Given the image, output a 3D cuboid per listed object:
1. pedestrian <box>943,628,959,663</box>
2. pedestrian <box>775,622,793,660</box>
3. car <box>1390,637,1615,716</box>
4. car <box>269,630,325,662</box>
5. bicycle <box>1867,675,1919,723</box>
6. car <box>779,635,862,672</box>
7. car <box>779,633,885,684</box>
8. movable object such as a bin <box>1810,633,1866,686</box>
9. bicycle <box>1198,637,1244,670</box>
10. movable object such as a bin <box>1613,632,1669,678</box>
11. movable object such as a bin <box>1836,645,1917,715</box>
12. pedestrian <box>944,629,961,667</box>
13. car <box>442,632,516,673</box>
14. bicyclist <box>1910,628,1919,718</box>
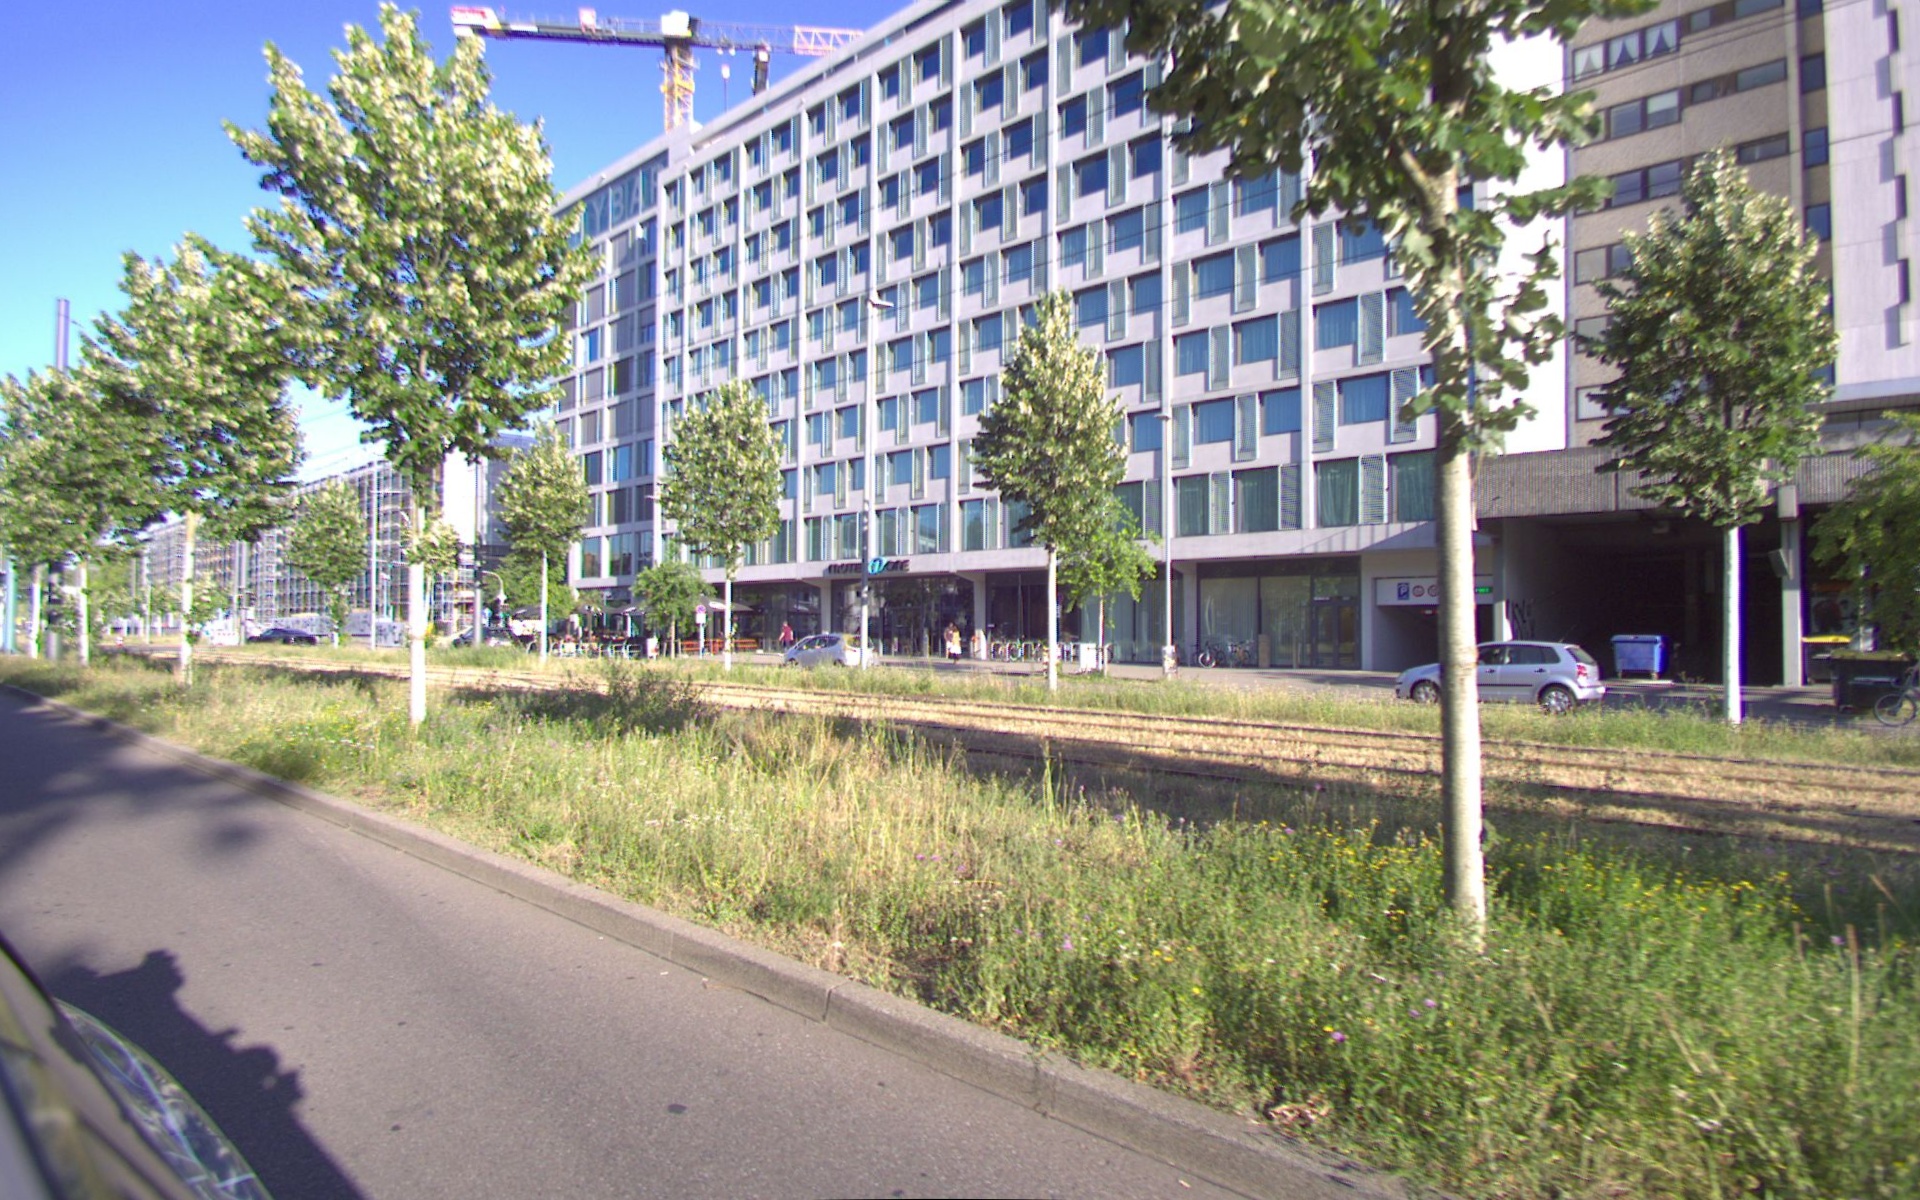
[{"bbox_3d":[-0.418,2.153,48.128,0.597,1.648,0.472,-2,-3,42],"label":"pedestrian"},{"bbox_3d":[-9.565,2.218,55.068,0.726,2.029,0.613,-2,-3,42],"label":"pedestrian"},{"bbox_3d":[11.268,1.519,21.162,3.878,1.388,1.592,-1,0,42],"label":"car"},{"bbox_3d":[-39.472,2.686,60.212,3.792,1.765,1.850,-1,0,42],"label":"car"},{"bbox_3d":[18.243,1.860,18.760,2.101,0.869,0.432,-1,-3,40],"label":"bicycle"},{"bbox_3d":[-6.100,2.305,44.181,3.389,1.477,1.850,-1,0,42],"label":"car"},{"bbox_3d":[-4.503,1.991,35.321,3.482,1.603,1.850,-1,0,42],"label":"car"},{"bbox_3d":[23.614,1.588,27.246,1.089,1.382,1.107,-2,-3,40],"label":"movable object such as a bin"},{"bbox_3d":[10.134,2.059,39.310,1.714,1.239,0.390,-1,-2,33],"label":"bicycle"},{"bbox_3d":[20.446,1.639,30.397,1.232,1.344,1.372,-2,-3,40],"label":"movable object such as a bin"},{"bbox_3d":[19.153,1.650,21.191,1.170,1.382,1.372,-2,-3,40],"label":"movable object such as a bin"},{"bbox_3d":[-0.333,2.107,44.698,0.597,1.648,0.472,-2,-3,42],"label":"pedestrian"},{"bbox_3d":[-22.870,2.436,48.046,3.792,1.765,1.850,-1,0,42],"label":"car"},{"bbox_3d":[18.257,1.352,18.731,0.918,1.669,0.532,-2,-3,40],"label":"bicyclist"}]
